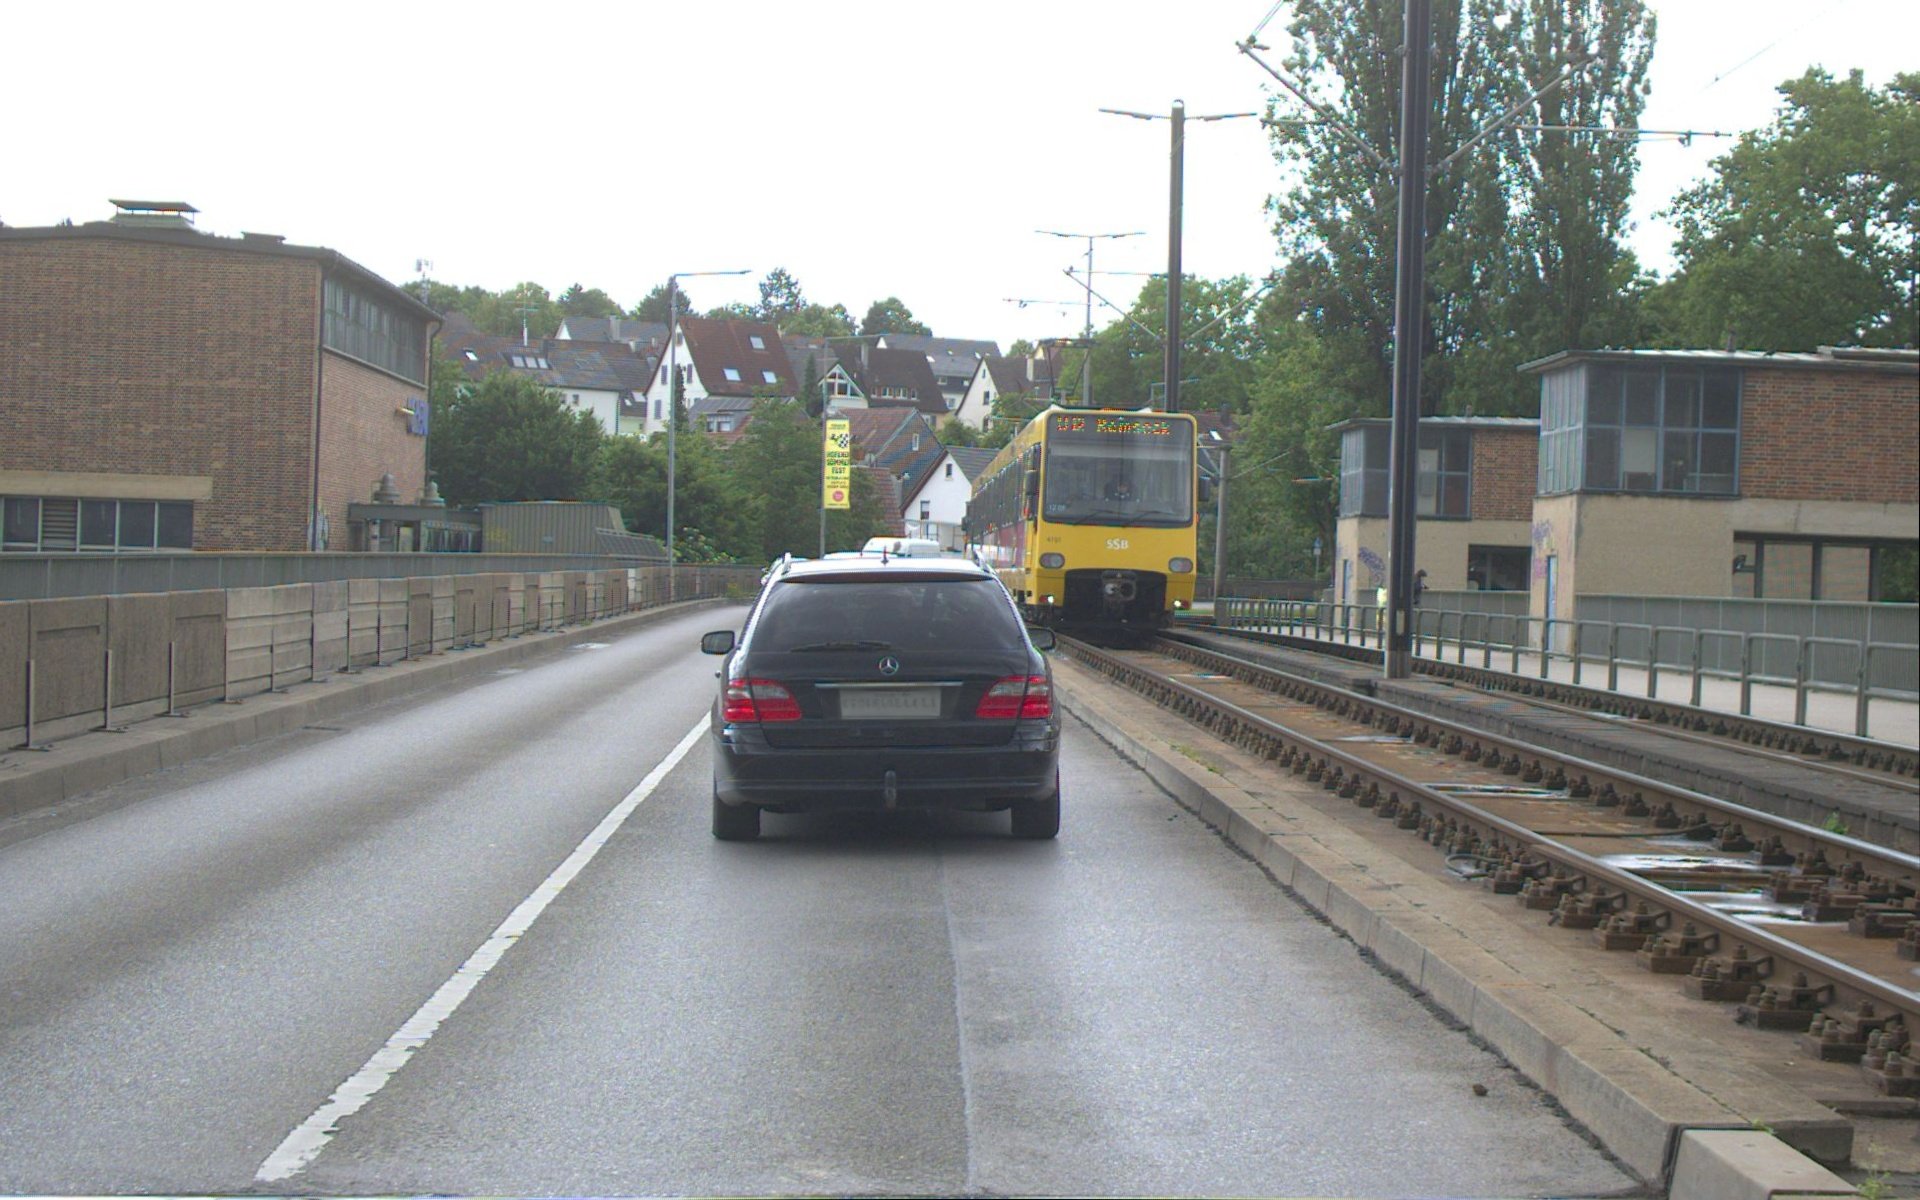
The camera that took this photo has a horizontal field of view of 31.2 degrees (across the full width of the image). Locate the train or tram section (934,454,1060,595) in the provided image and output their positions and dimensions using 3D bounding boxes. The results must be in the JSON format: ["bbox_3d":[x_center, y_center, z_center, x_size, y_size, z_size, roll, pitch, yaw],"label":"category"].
[{"bbox_3d":[0.895,-2.041,99.510,2.784,3.643,19.894,-1,0,-2],"label":"train or tram section"}]

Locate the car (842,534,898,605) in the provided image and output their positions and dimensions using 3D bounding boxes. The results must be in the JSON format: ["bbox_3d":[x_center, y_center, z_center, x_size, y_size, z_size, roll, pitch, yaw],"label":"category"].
[{"bbox_3d":[-3.429,-1.193,130.878,2.033,2.552,7.008,1,1,-2],"label":"car"}]

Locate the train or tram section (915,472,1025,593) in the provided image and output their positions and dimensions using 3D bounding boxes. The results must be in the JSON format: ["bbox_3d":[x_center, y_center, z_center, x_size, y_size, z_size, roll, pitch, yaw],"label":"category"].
[{"bbox_3d":[0.203,-2.232,119.419,2.793,3.751,19.894,2,0,-2],"label":"train or tram section"}]

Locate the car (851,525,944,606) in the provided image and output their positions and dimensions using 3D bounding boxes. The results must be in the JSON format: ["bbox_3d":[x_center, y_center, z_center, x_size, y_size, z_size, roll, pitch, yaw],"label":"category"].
[{"bbox_3d":[-1.269,-0.732,70.639,1.793,1.550,4.385,2,1,-1],"label":"car"}]

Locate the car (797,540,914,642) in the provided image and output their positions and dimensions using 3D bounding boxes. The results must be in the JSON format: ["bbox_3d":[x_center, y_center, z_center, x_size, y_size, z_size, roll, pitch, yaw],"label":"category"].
[{"bbox_3d":[-1.741,-0.173,55.881,1.770,1.550,4.241,1,1,-3],"label":"car"}]

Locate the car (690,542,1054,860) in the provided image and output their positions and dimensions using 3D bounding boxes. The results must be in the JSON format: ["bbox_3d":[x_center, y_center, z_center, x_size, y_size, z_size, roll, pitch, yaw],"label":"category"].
[{"bbox_3d":[-0.417,0.452,18.902,1.759,1.510,4.442,0,1,0],"label":"car"}]

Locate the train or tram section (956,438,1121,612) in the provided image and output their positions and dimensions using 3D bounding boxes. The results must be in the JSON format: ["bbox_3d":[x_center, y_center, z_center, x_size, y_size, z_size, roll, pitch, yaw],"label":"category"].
[{"bbox_3d":[1.607,-1.709,80.254,2.829,3.568,18.669,0,1,-2],"label":"train or tram section"}]

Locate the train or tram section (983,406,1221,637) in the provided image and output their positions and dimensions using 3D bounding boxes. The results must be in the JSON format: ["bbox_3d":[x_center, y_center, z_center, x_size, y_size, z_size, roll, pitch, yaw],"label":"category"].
[{"bbox_3d":[2.226,-1.353,61.543,2.882,3.497,18.669,0,1,-2],"label":"train or tram section"}]

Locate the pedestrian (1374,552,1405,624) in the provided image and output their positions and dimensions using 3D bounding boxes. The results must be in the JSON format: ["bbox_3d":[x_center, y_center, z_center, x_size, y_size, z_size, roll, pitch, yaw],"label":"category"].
[{"bbox_3d":[9.767,-0.278,78.143,0.577,1.604,0.613,1,0,0],"label":"pedestrian"}]
